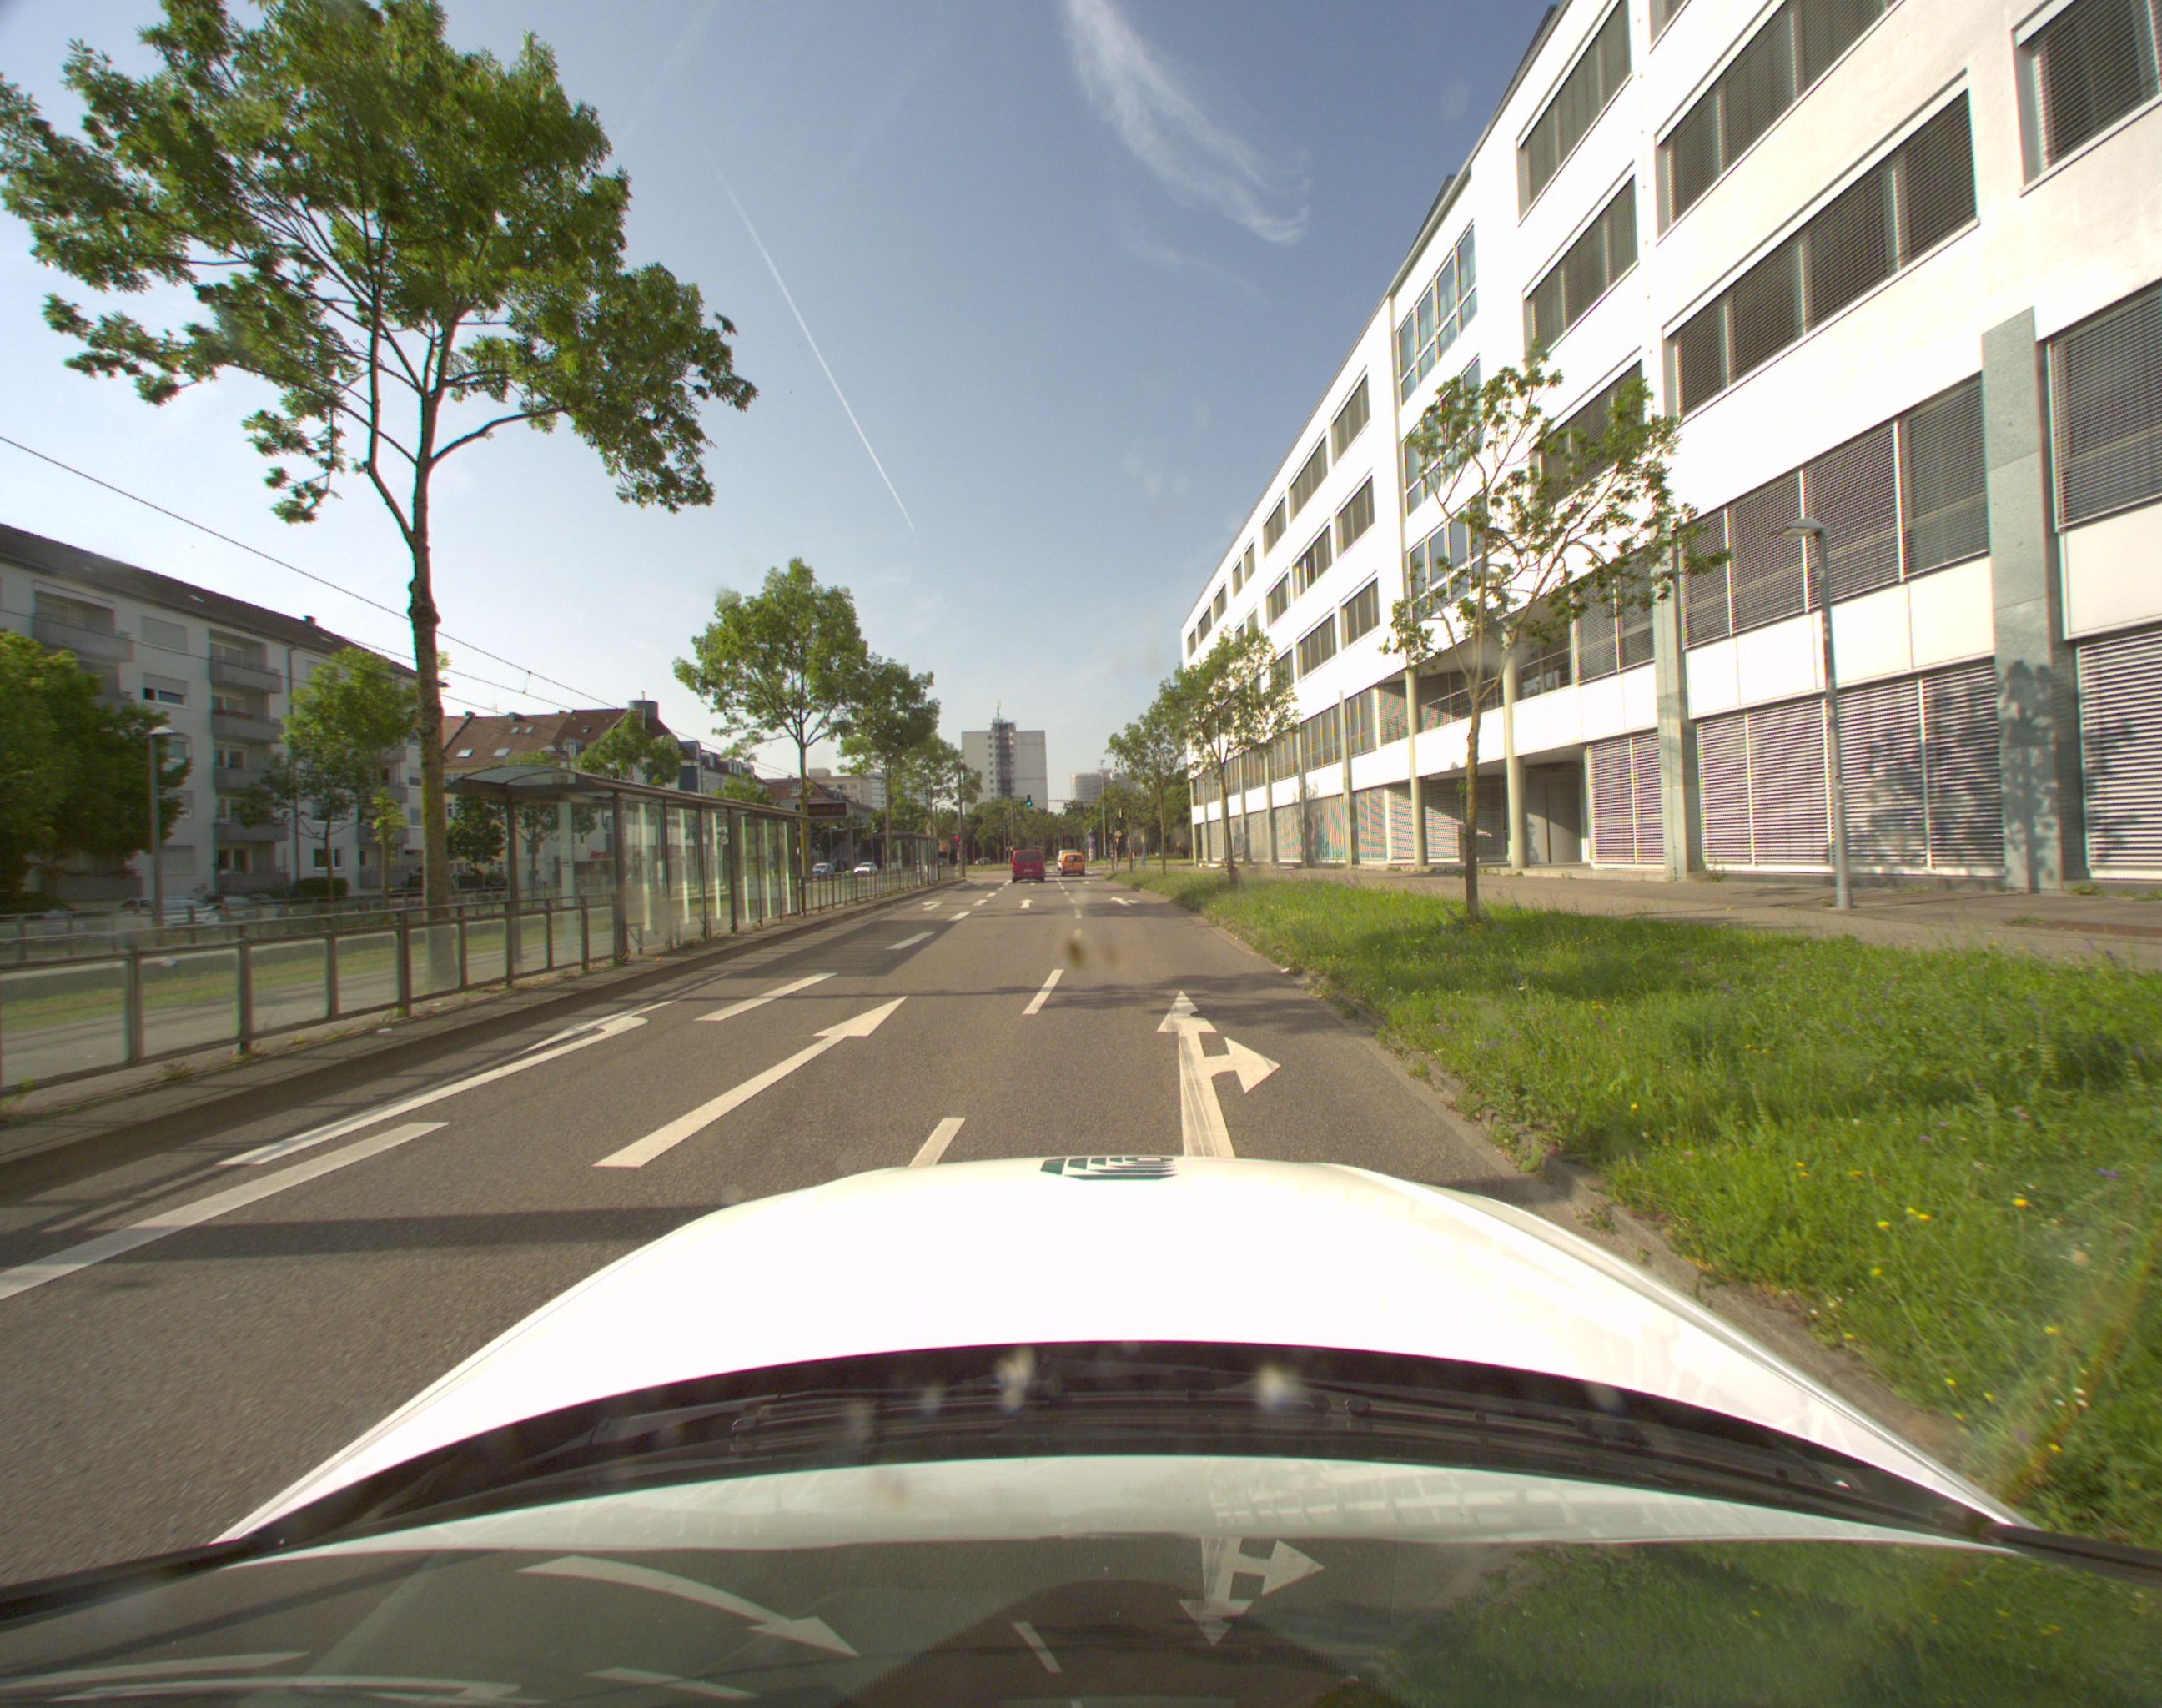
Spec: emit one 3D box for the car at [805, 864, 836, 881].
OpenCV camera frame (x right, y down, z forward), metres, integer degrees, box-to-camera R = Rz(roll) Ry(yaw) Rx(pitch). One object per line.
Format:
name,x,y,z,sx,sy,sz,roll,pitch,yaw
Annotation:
car,-26.680,1.878,83.638,1.988,1.596,3.996,-1,0,-2

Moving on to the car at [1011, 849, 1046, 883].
car,-3.070,0.681,47.479,1.871,1.853,3.994,-2,0,-4

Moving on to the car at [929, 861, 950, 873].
car,-20.965,1.947,120.717,1.865,1.574,4.007,-3,0,6

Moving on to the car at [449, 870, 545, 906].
car,-36.161,2.053,50.615,2.361,2.030,5.304,-1,0,-4

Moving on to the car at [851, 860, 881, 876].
car,-23.122,1.500,87.706,1.987,1.596,4.050,-1,0,1

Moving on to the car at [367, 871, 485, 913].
car,-35.707,2.001,44.649,2.361,2.030,5.304,-1,0,-4

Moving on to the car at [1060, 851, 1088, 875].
car,-0.566,0.661,61.081,1.871,1.696,3.970,-2,0,-2

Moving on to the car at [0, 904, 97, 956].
car,-29.564,2.093,22.719,3.949,1.244,1.844,-2,0,27

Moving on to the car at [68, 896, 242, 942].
car,-29.584,2.068,26.075,3.960,1.244,1.946,-2,0,12

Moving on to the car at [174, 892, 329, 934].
car,-29.107,2.051,28.626,3.960,1.244,1.946,-2,0,12

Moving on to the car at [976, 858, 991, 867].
car,-17.407,1.573,145.653,1.866,1.574,4.006,-1,0,6

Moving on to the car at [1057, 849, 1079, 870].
car,-1.291,0.555,80.999,1.989,2.014,3.995,-1,-1,-3

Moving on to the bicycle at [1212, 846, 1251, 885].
bicycle,4.166,0.316,22.668,0.616,1.017,1.877,-2,0,-4

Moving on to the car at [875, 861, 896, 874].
car,-26.283,1.793,109.648,1.869,1.574,4.000,-2,0,0
